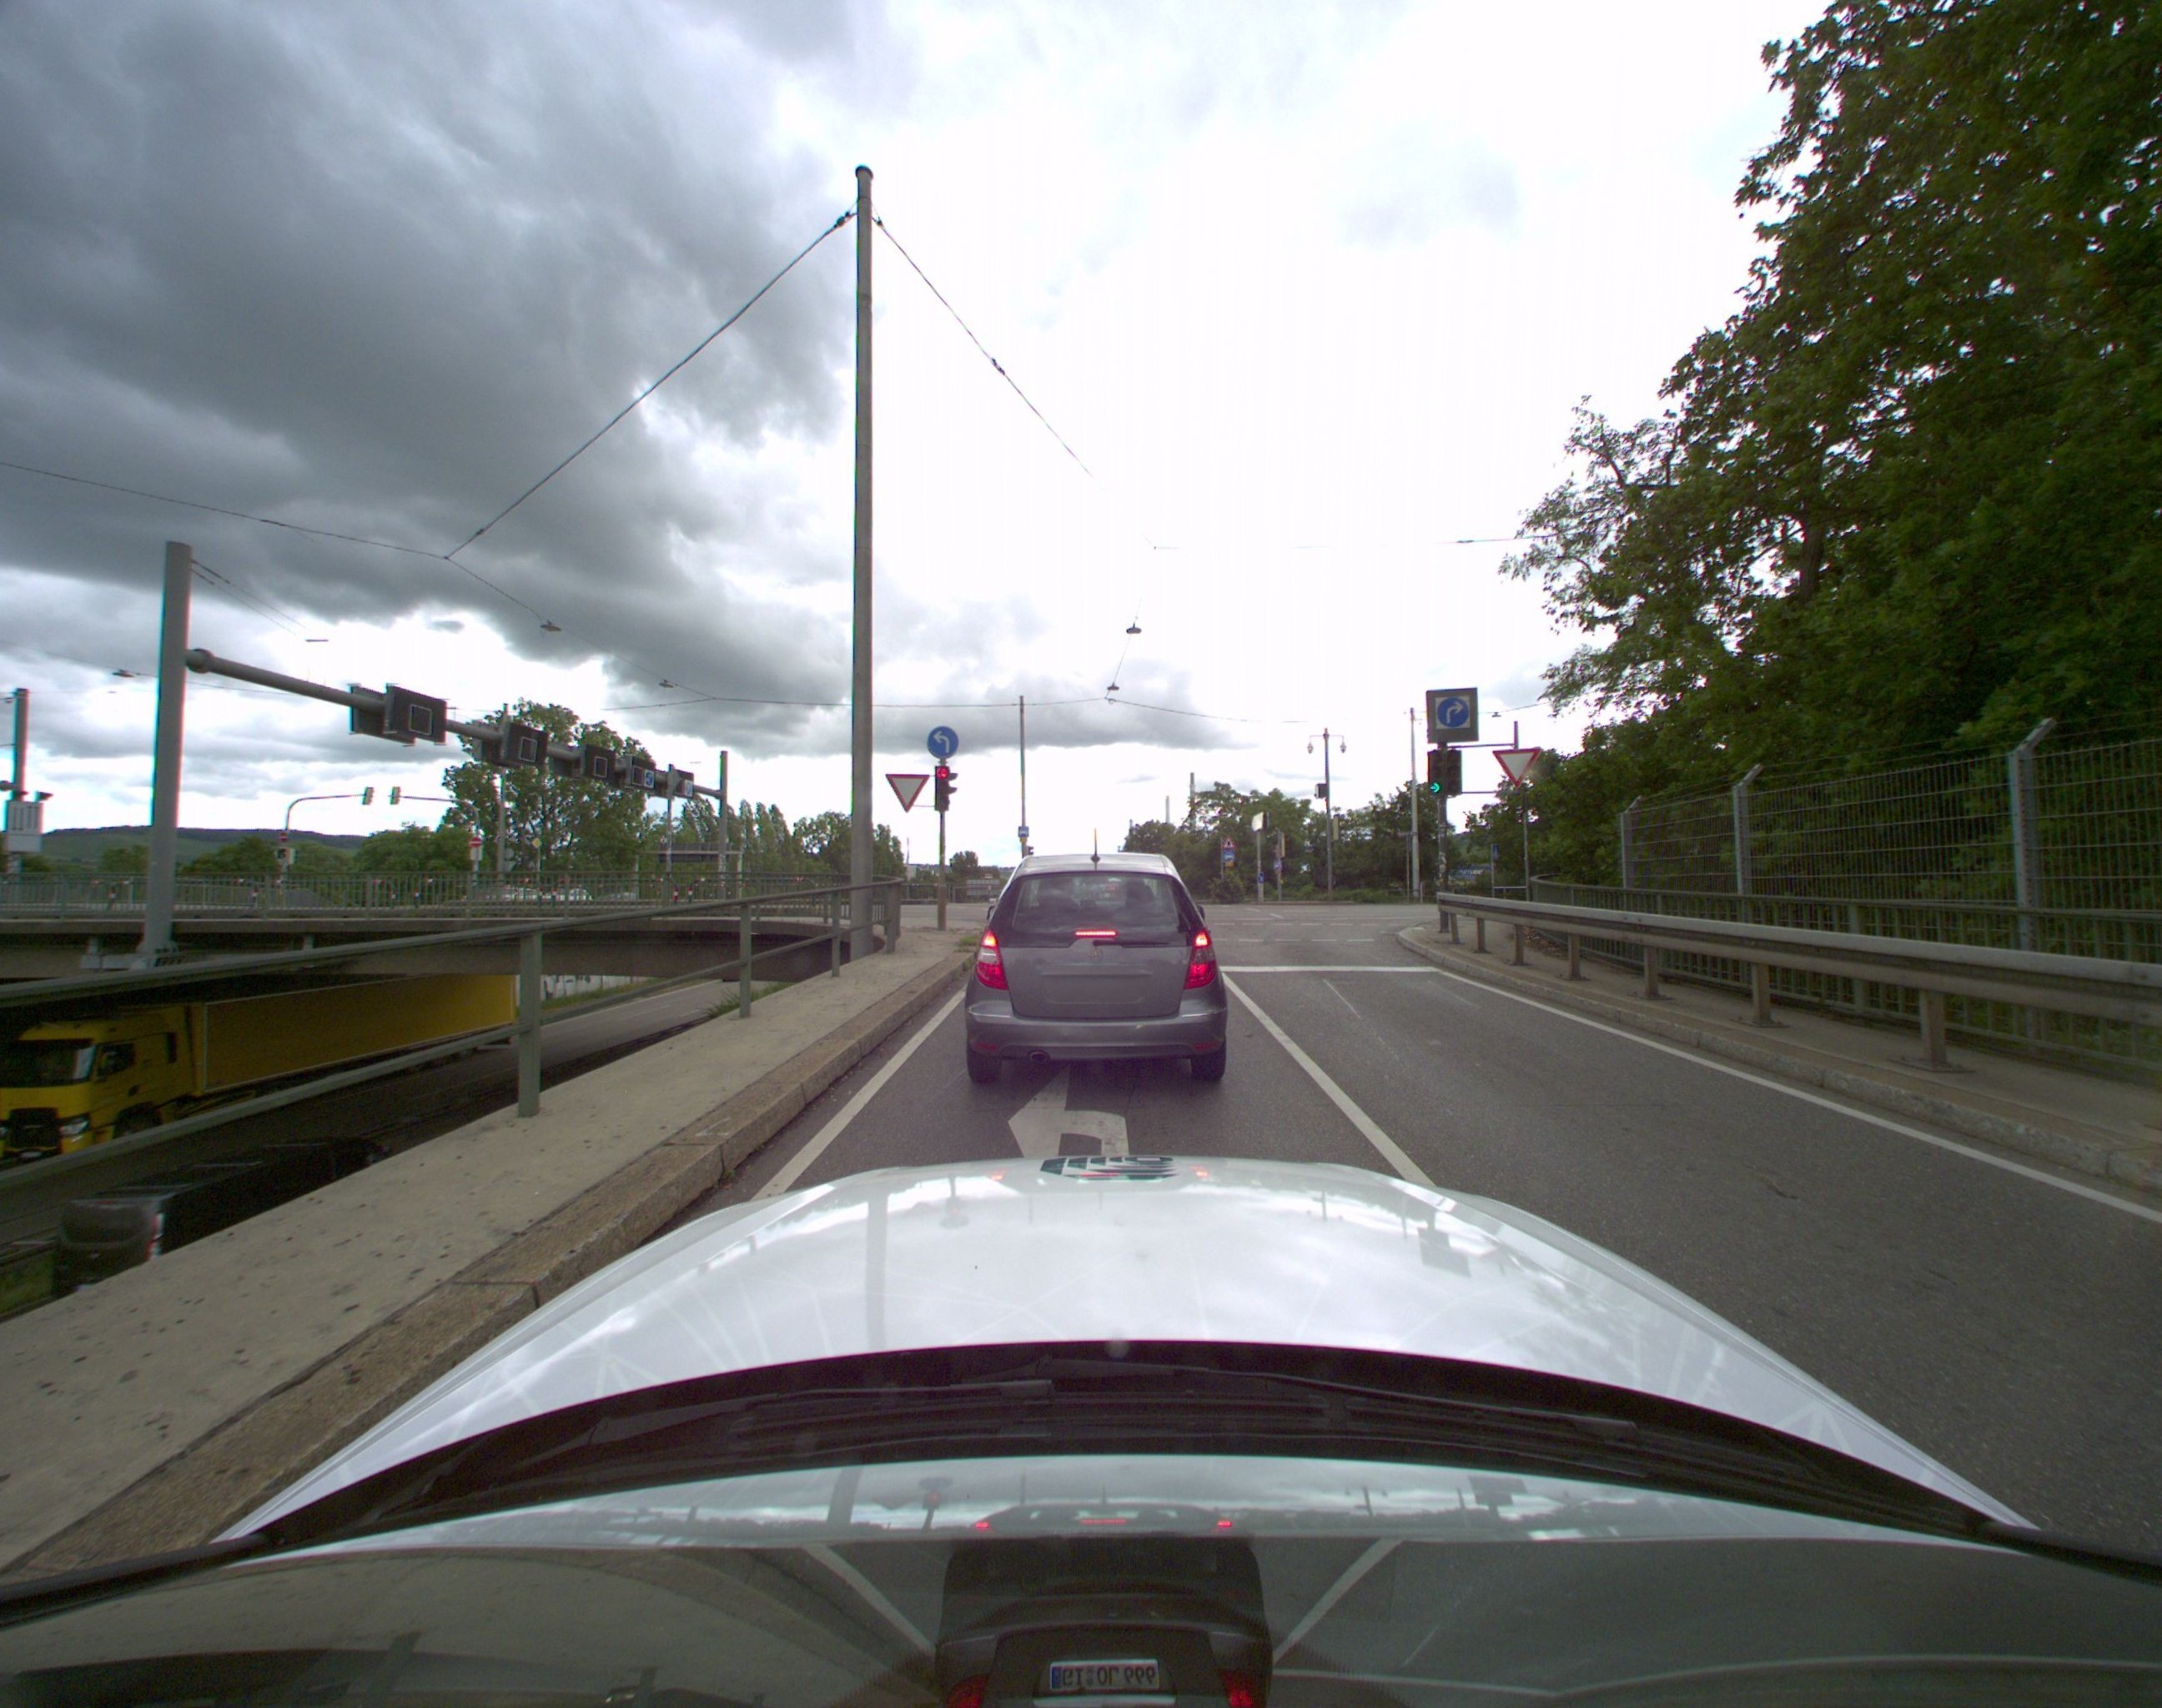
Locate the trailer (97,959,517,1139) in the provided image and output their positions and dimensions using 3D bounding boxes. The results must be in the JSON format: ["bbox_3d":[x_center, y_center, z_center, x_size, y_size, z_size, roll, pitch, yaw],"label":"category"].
[{"bbox_3d":[-28.401,6.831,31.789,3.230,4.263,13.675,-2,-3,0],"label":"trailer"}]

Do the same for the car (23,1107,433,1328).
[{"bbox_3d":[-15.482,6.528,15.417,1.985,2.014,5.257,-1,-3,3],"label":"car"}]

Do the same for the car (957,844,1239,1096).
[{"bbox_3d":[0.164,0.731,6.792,1.733,1.543,3.542,0,-1,2],"label":"car"}]

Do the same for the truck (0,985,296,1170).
[{"bbox_3d":[-28.480,6.515,24.900,3.229,4.182,5.803,-2,-3,1],"label":"truck"}]
